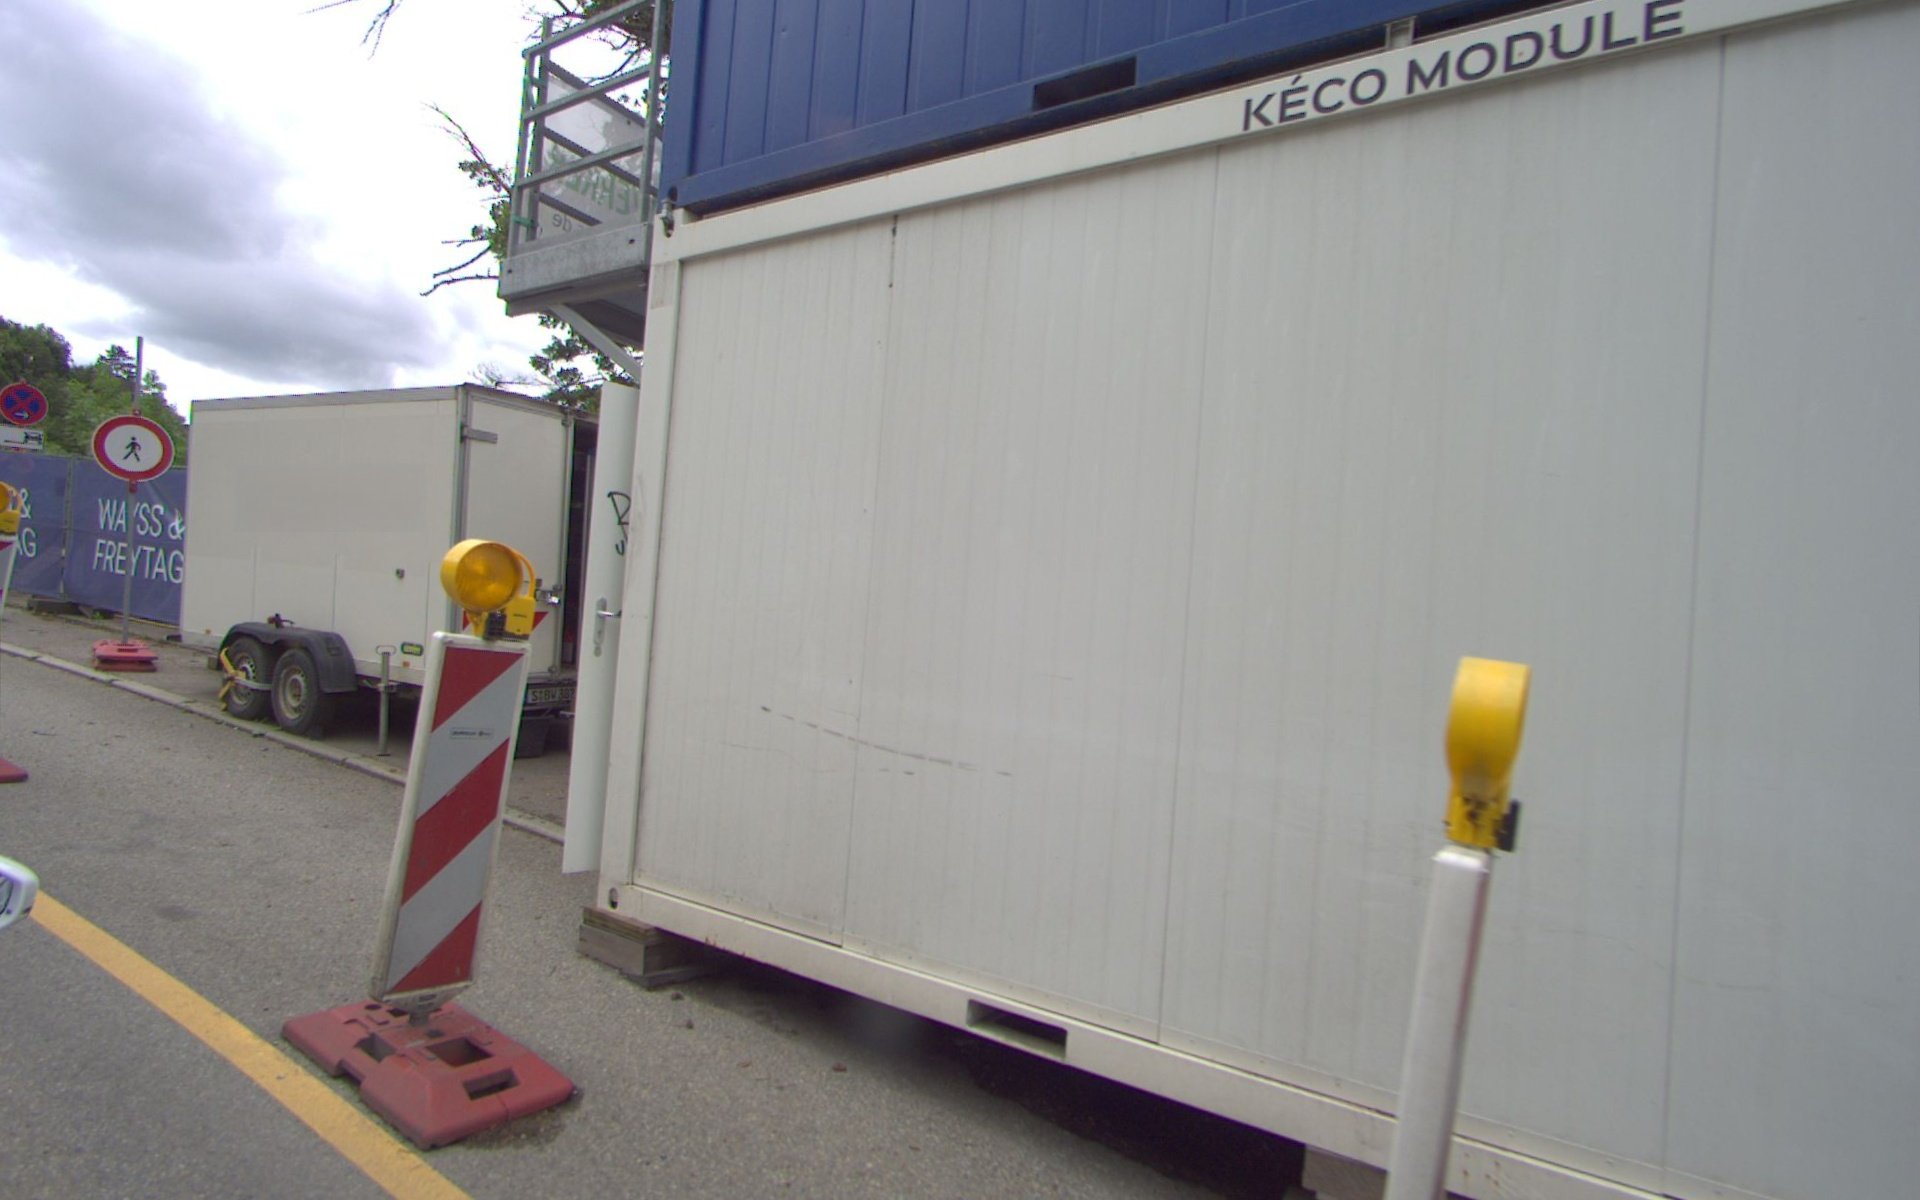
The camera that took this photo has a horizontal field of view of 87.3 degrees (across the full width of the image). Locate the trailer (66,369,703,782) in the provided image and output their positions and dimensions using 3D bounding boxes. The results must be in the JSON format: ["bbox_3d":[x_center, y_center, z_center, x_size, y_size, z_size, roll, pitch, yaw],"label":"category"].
[{"bbox_3d":[-4.887,-0.361,8.385,5.030,2.583,2.110,7,1,28],"label":"trailer"}]

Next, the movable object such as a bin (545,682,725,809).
[{"bbox_3d":[-2.174,0.944,6.743,0.871,0.648,0.705,7,1,31],"label":"movable object such as a bin"}]
